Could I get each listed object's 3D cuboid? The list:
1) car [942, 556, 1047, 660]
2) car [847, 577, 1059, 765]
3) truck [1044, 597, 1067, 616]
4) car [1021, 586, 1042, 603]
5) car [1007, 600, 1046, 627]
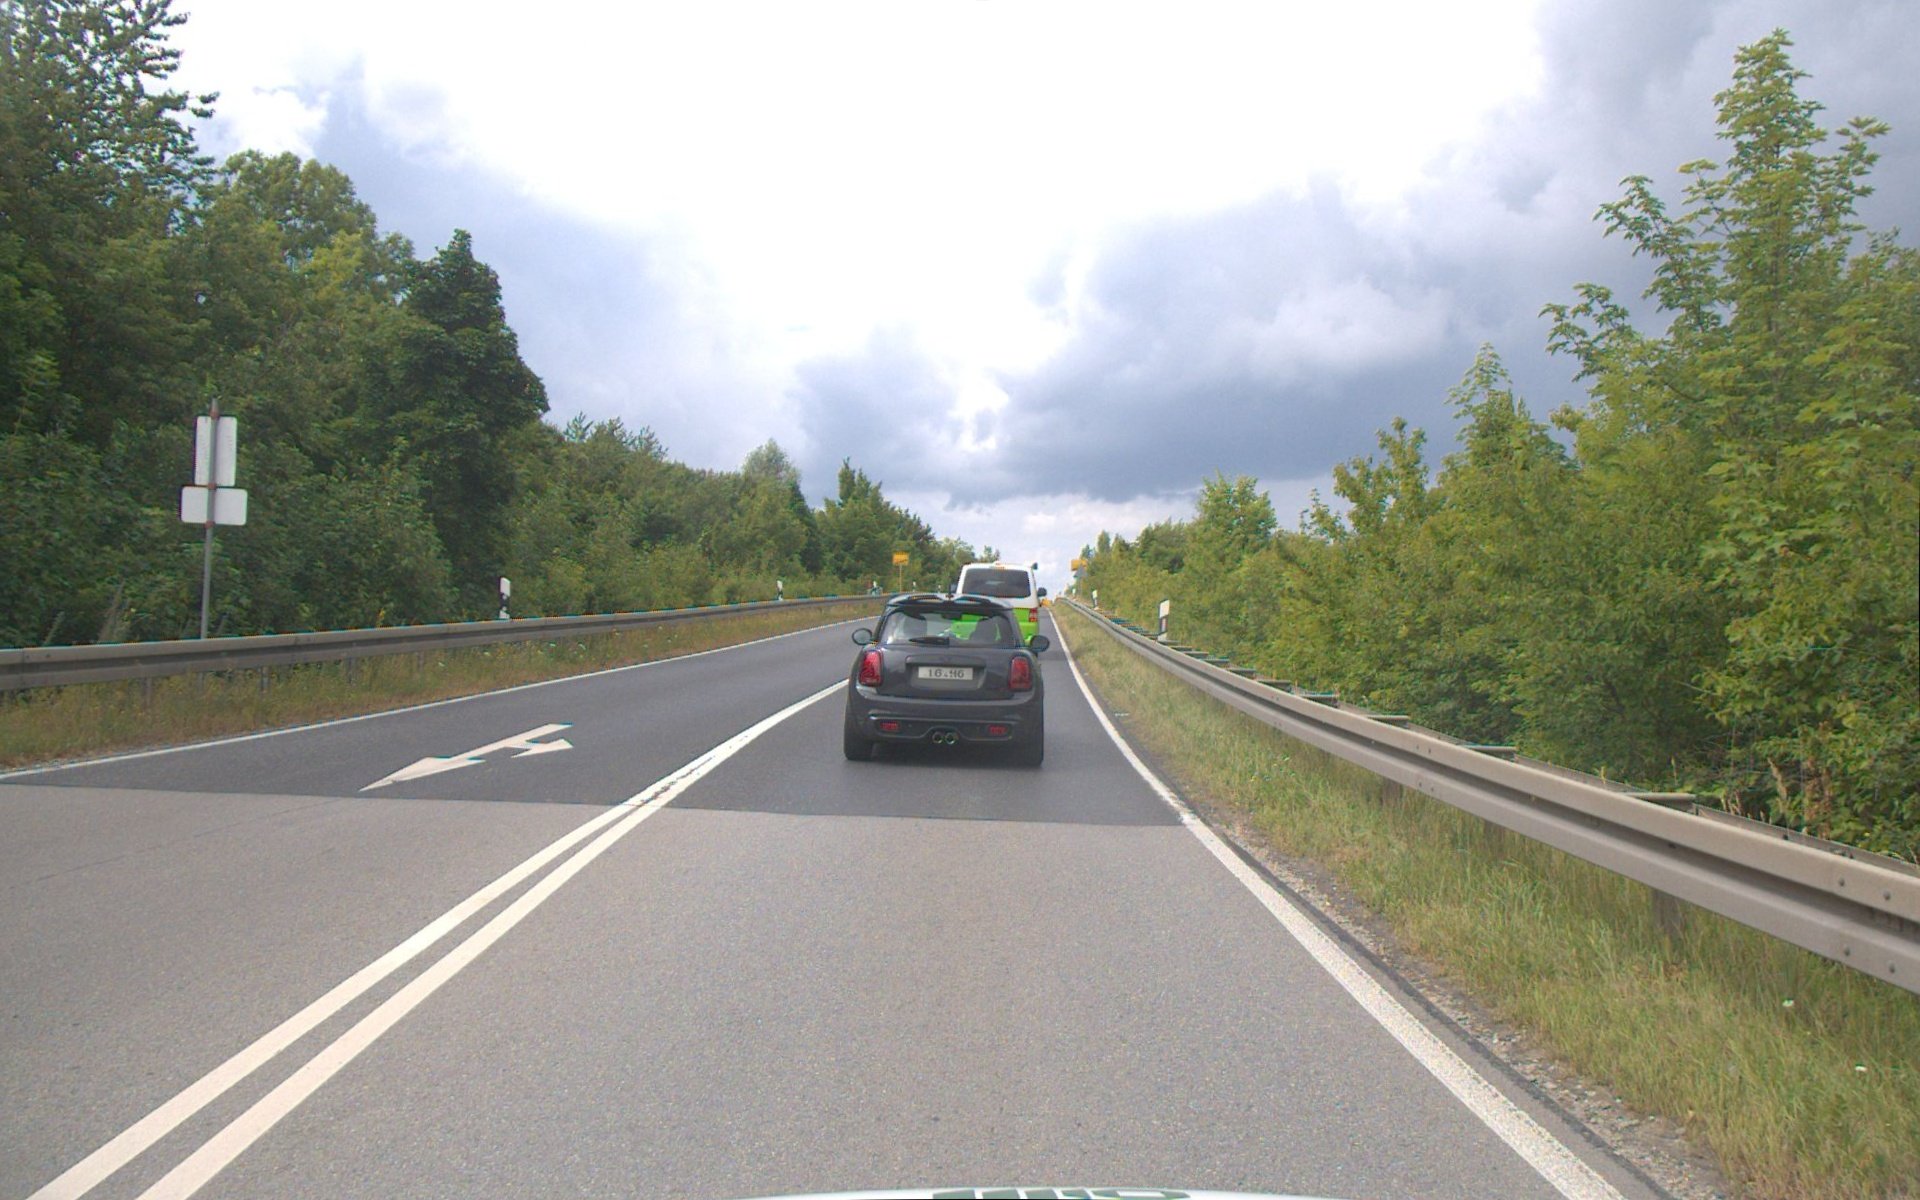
[{"bbox_3d":[0.811,0.142,35.835,1.980,2.048,4.002,2,0,4],"label":"car"},{"bbox_3d":[-0.133,0.556,15.501,1.697,1.481,3.998,1,1,-2],"label":"car"},{"bbox_3d":[13.221,0.819,228.402,2.848,2.413,10.458,-1,0,4],"label":"truck"},{"bbox_3d":[5.915,-0.473,136.570,1.659,1.342,4.003,0,1,4],"label":"car"},{"bbox_3d":[3.122,0.637,76.925,1.658,1.243,4.002,0,-1,5],"label":"car"}]
